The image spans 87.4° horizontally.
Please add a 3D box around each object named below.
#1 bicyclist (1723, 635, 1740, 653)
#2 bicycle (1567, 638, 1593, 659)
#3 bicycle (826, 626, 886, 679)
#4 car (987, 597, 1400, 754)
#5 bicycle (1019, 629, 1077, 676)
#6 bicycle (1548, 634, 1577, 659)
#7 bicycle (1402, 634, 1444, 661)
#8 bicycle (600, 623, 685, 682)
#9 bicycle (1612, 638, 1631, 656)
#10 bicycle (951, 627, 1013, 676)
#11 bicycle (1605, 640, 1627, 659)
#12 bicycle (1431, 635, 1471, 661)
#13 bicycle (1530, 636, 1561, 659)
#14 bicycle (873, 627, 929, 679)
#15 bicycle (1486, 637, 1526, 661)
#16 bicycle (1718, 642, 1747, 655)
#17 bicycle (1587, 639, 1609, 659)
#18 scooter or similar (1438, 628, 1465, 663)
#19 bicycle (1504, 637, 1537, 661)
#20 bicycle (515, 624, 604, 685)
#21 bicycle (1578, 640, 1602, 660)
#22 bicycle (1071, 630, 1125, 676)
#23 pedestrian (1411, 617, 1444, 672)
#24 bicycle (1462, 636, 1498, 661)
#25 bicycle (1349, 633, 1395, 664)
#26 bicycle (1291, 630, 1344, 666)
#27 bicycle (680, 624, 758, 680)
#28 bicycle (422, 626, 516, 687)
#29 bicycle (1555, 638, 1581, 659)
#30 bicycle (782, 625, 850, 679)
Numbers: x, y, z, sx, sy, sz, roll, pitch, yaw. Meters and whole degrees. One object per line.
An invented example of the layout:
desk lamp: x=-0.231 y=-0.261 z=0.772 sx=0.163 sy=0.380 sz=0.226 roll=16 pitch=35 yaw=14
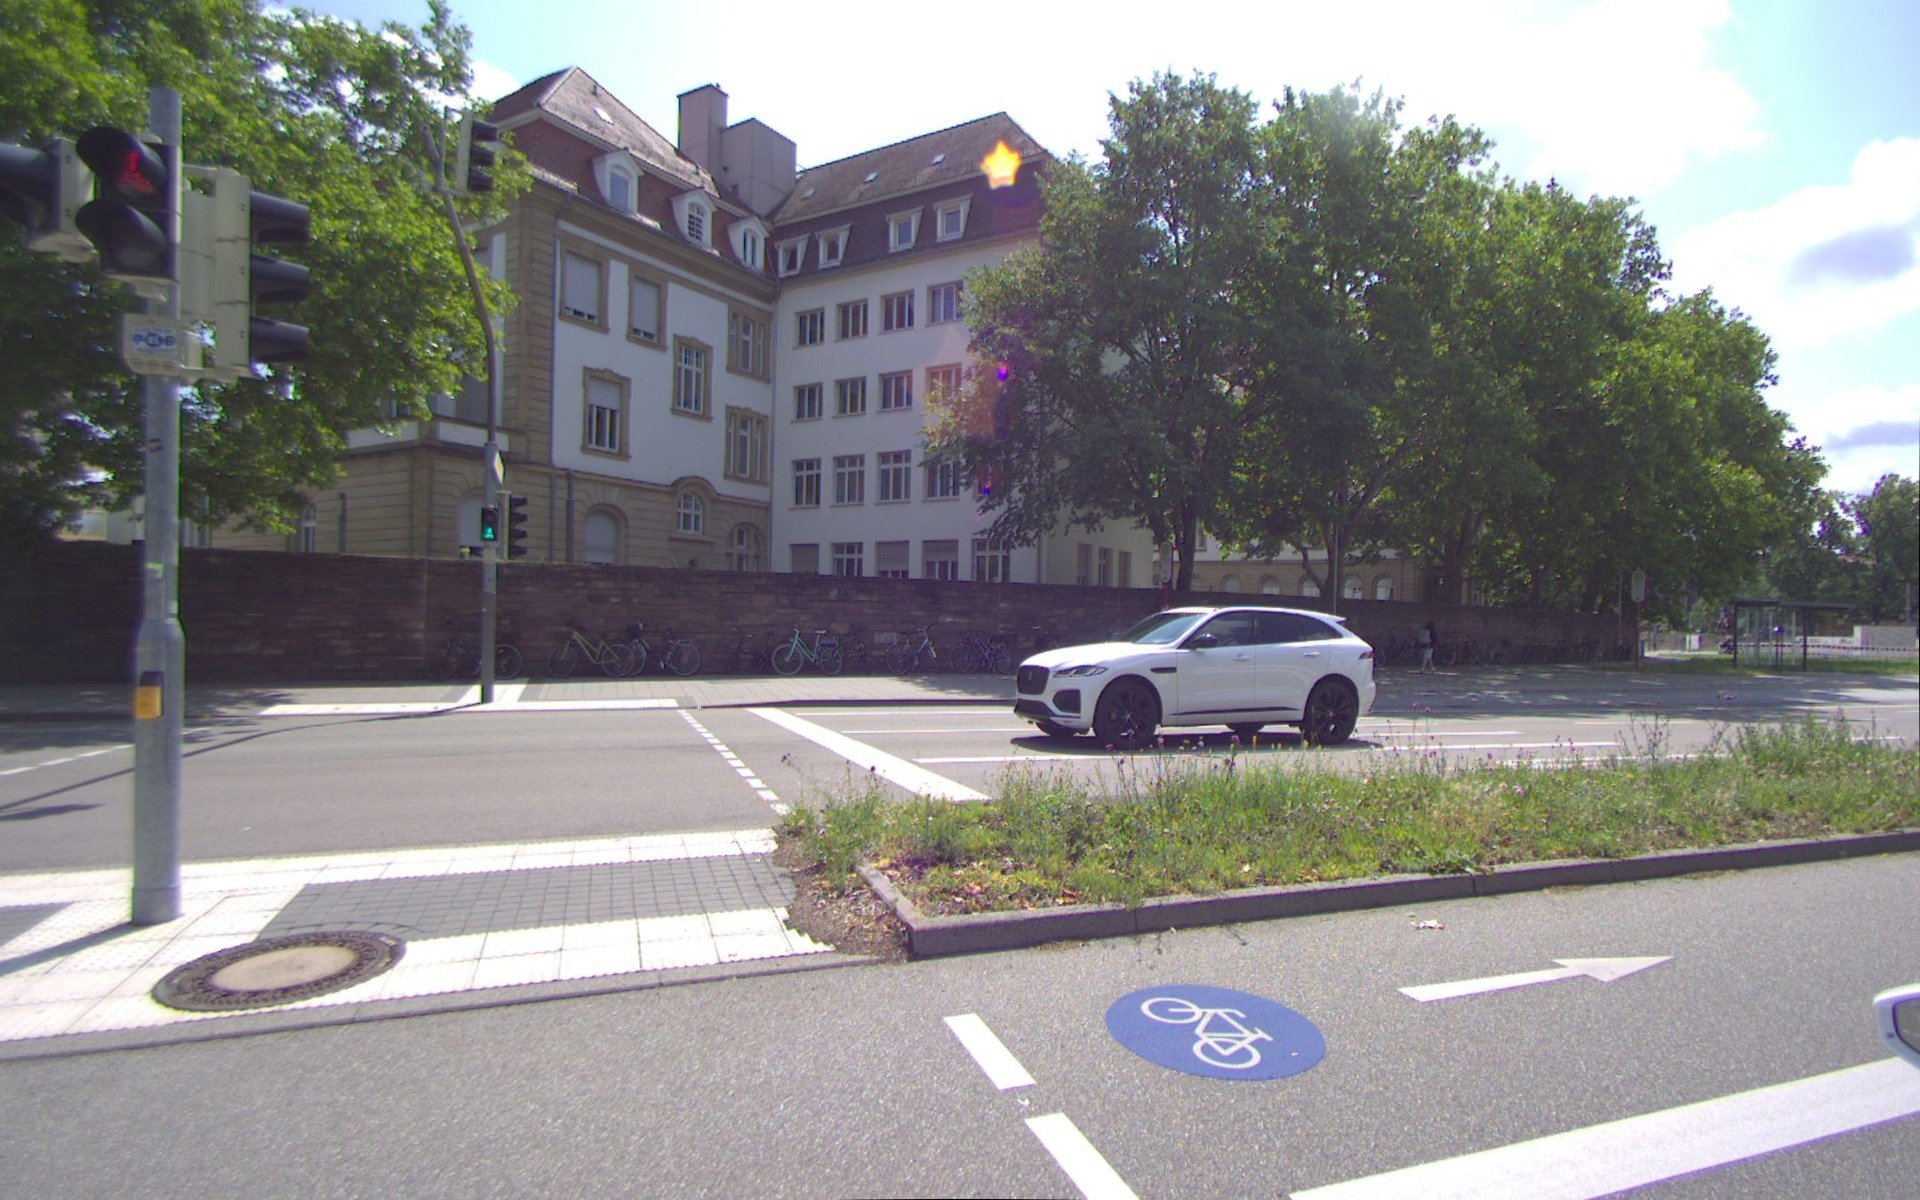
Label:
bicyclist: x=66.364 y=3.813 z=86.400 sx=0.544 sy=1.493 sz=0.964 roll=1 pitch=-1 yaw=-28
bicycle: x=28.155 y=2.205 z=45.620 sx=1.653 sy=0.914 sz=0.538 roll=2 pitch=-1 yaw=-42
bicycle: x=-2.366 y=1.178 z=22.954 sx=0.396 sy=1.168 sz=1.589 roll=0 pitch=-1 yaw=36
car: x=2.897 y=0.868 z=12.589 sx=4.703 sy=1.689 sz=2.068 roll=1 pitch=-1 yaw=-20
bicycle: x=2.249 y=1.320 z=25.541 sx=1.583 sy=1.168 sz=0.527 roll=2 pitch=-1 yaw=-43
bicycle: x=25.855 y=1.993 z=43.103 sx=1.609 sy=1.065 sz=0.539 roll=2 pitch=-1 yaw=-38
bicycle: x=16.267 y=1.667 z=35.284 sx=1.648 sy=0.914 sz=0.540 roll=2 pitch=-1 yaw=-34
bicycle: x=-6.566 y=1.072 z=20.789 sx=1.575 sy=1.168 sz=0.618 roll=1 pitch=-1 yaw=-30
bicycle: x=34.386 y=2.431 z=52.223 sx=0.538 sy=0.914 sz=1.656 roll=1 pitch=-1 yaw=43
bicycle: x=0.558 y=1.272 z=24.867 sx=1.577 sy=1.168 sz=0.399 roll=1 pitch=-1 yaw=-33
bicycle: x=33.056 y=2.505 z=50.622 sx=1.653 sy=0.914 sz=0.538 roll=2 pitch=-1 yaw=-42
bicycle: x=17.801 y=1.734 z=36.397 sx=1.648 sy=0.914 sz=0.540 roll=1 pitch=-1 yaw=-34
bicycle: x=24.534 y=1.982 z=42.065 sx=1.651 sy=0.964 sz=0.539 roll=2 pitch=-1 yaw=-38
bicycle: x=-1.360 y=1.220 z=23.471 sx=0.396 sy=1.168 sz=1.589 roll=0 pitch=-1 yaw=36
bicycle: x=21.149 y=1.886 z=38.889 sx=1.643 sy=0.914 sz=0.500 roll=1 pitch=-1 yaw=-25
bicycle: x=66.375 y=4.198 z=86.351 sx=0.541 sy=1.044 sz=1.913 roll=1 pitch=-1 yaw=-27
bicycle: x=30.556 y=2.340 z=48.116 sx=1.781 sy=0.914 sz=0.448 roll=2 pitch=-1 yaw=-42
scooter or similar: x=17.174 y=1.573 z=35.112 sx=1.184 sy=1.199 sz=0.428 roll=2 pitch=-1 yaw=-42
bicycle: x=22.471 y=1.959 z=40.261 sx=1.650 sy=0.914 sz=0.539 roll=2 pitch=-1 yaw=-37
bicycle: x=-7.950 y=1.068 z=19.976 sx=1.575 sy=1.168 sz=0.496 roll=1 pitch=-1 yaw=-30
bicycle: x=29.363 y=2.327 z=46.796 sx=1.653 sy=0.914 sz=0.538 roll=2 pitch=-1 yaw=-42
bicycle: x=3.664 y=1.386 z=26.636 sx=1.583 sy=1.168 sz=0.527 roll=2 pitch=-1 yaw=-43
pedestrian: x=14.238 y=1.343 z=30.583 sx=0.752 sy=1.638 sz=0.609 roll=1 pitch=0 yaw=-42
bicycle: x=19.659 y=1.829 z=37.962 sx=1.649 sy=0.914 sz=0.540 roll=2 pitch=-1 yaw=-37
bicycle: x=13.533 y=1.585 z=32.967 sx=1.648 sy=0.962 sz=0.540 roll=1 pitch=-1 yaw=-34
bicycle: x=11.221 y=1.499 z=31.486 sx=1.876 sy=1.061 sz=0.540 roll=1 pitch=-1 yaw=-34
bicycle: x=-5.176 y=1.106 z=21.603 sx=1.574 sy=1.168 sz=0.411 roll=1 pitch=-1 yaw=-27
bicycle: x=-9.371 y=1.067 z=19.183 sx=1.575 sy=1.113 sz=0.569 roll=1 pitch=-1 yaw=-30
bicycle: x=26.911 y=2.134 z=44.441 sx=1.653 sy=0.914 sz=0.538 roll=2 pitch=-1 yaw=-42
bicycle: x=-3.233 y=1.154 z=22.690 sx=1.584 sy=1.168 sz=0.397 roll=2 pitch=-1 yaw=-45
